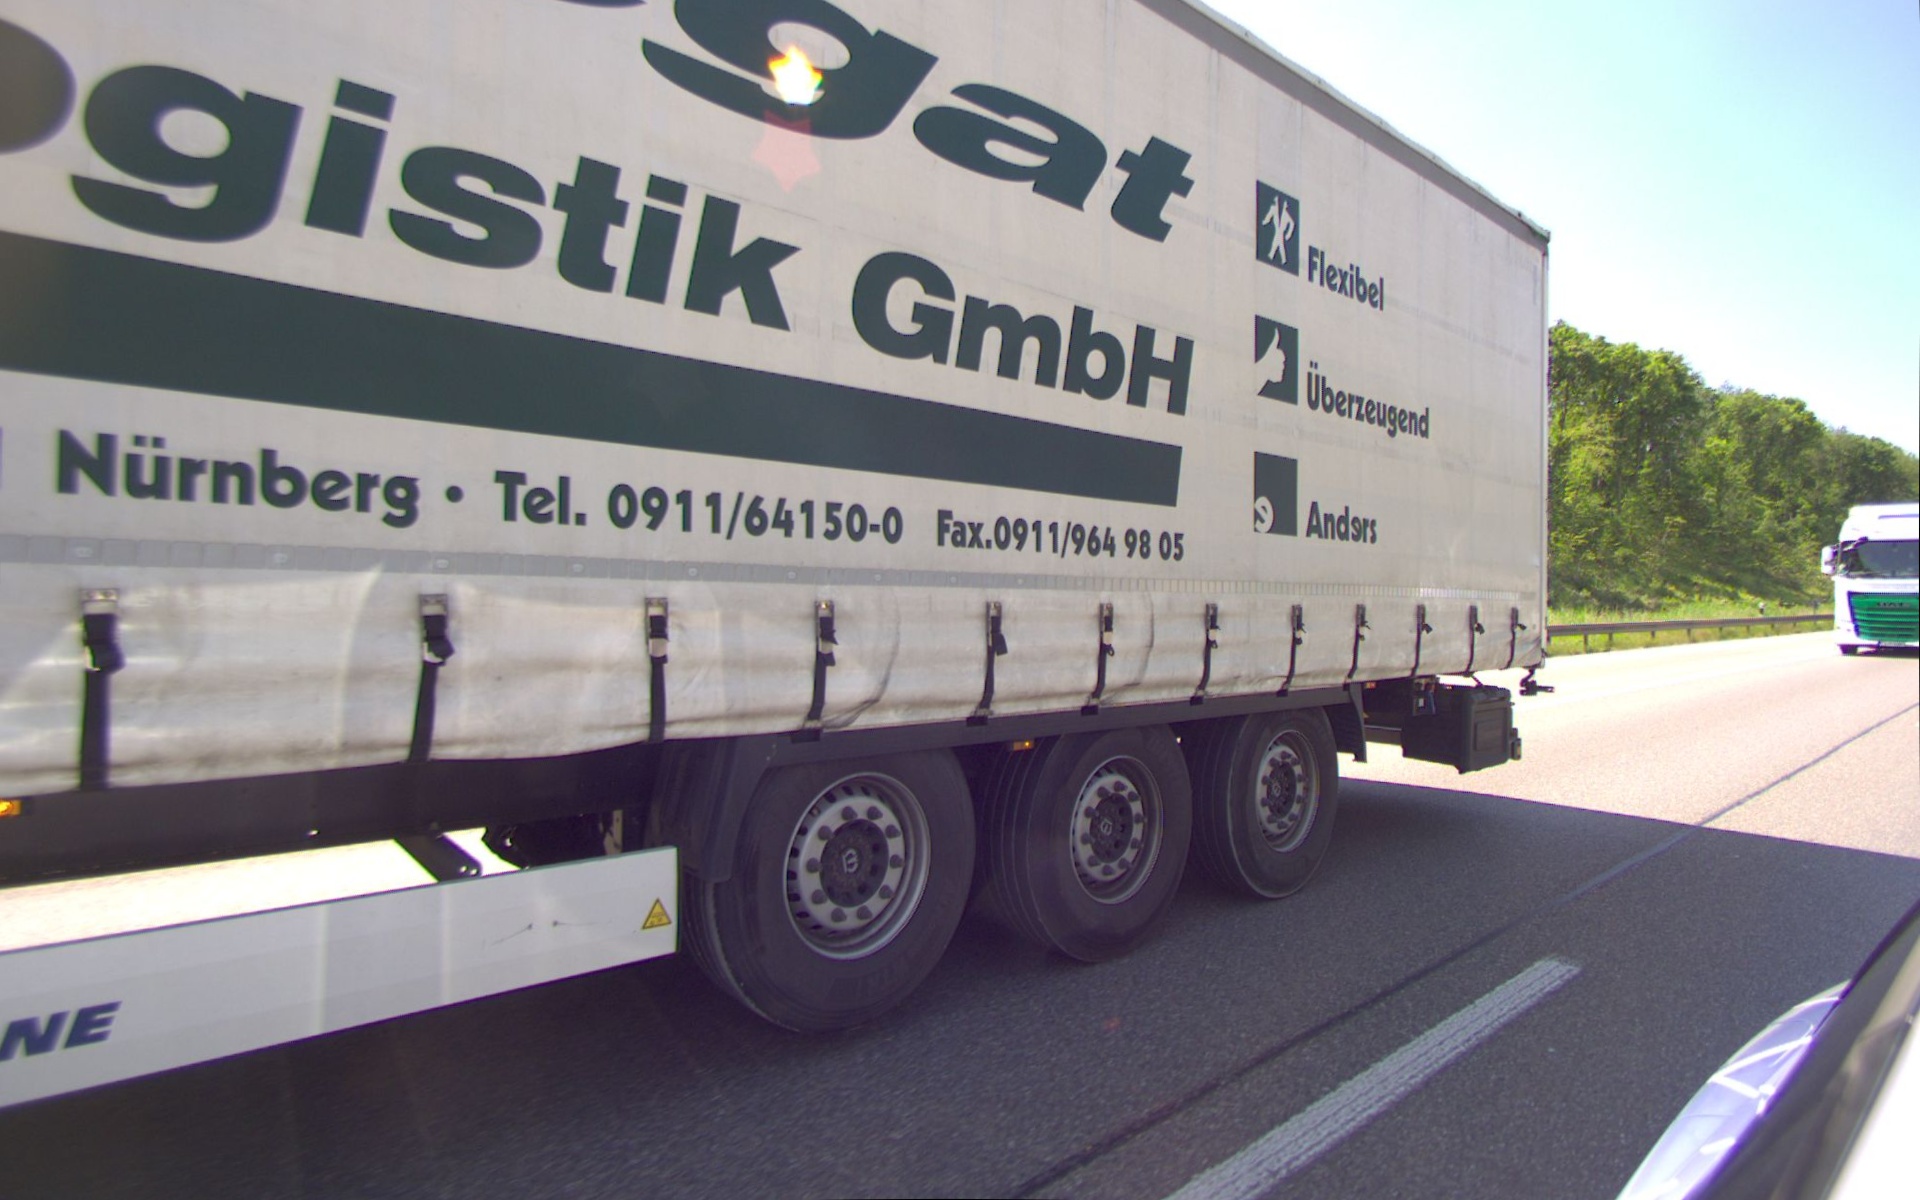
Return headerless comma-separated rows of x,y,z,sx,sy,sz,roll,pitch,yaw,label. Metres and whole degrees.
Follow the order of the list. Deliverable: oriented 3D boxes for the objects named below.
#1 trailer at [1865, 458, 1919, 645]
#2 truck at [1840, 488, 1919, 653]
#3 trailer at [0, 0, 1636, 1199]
32.011,-1.445,32.274,15.002,5.103,2.573,-1,1,-40,trailer
26.077,-0.796,27.275,6.508,4.080,2.541,-1,1,-40,truck
-0.616,-0.720,4.603,13.010,4.259,2.790,1,-1,-41,trailer
